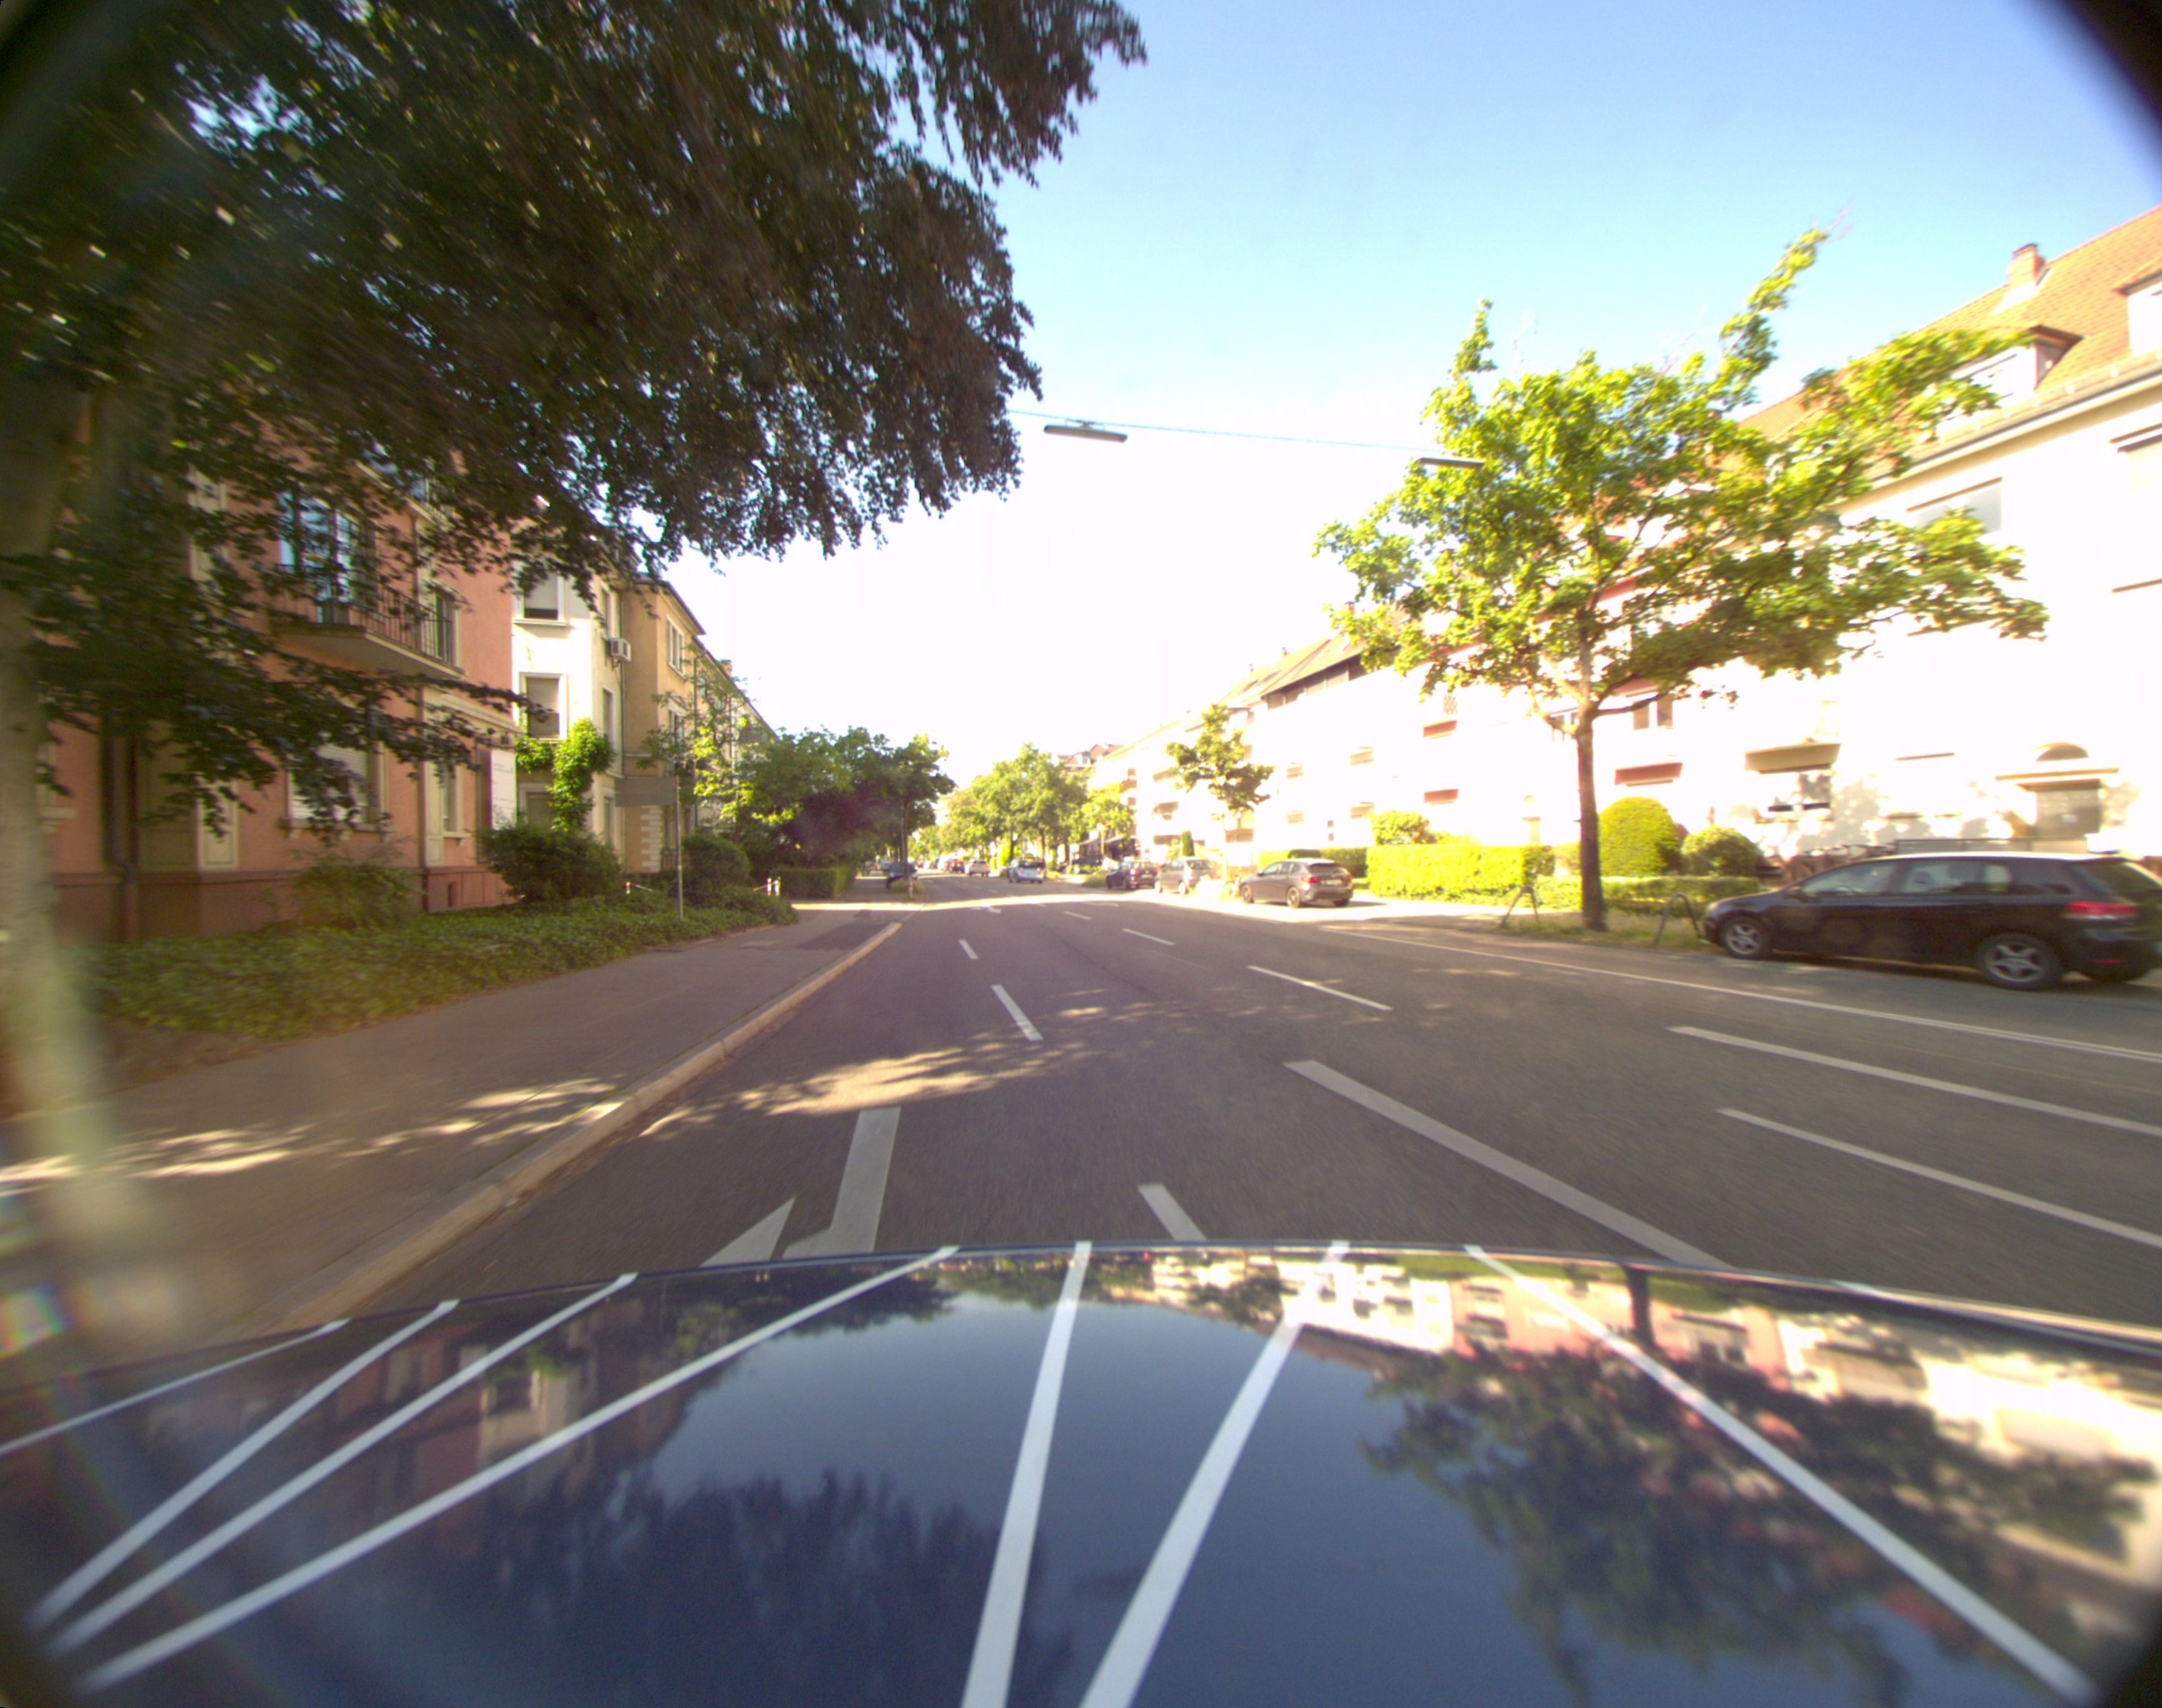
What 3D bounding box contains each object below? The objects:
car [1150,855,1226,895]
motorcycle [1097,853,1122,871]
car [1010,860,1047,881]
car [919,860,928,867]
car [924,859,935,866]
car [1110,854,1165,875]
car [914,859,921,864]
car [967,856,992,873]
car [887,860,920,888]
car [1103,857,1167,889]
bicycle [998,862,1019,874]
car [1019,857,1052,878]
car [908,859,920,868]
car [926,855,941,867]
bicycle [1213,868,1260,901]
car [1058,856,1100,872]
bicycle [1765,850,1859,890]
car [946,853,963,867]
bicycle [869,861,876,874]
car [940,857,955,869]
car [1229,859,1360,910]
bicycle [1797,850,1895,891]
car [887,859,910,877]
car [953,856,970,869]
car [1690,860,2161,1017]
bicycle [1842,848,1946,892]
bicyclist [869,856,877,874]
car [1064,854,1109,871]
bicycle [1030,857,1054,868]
[{"bbox_3d":[4.459,0.845,32.164,1.682,1.516,3.653,-3,0,-18],"label":"car"},{"bbox_3d":[2.572,0.727,69.036,2.157,1.477,0.781,-2,0,-6],"label":"motorcycle"},{"bbox_3d":[-3.545,1.089,50.579,1.744,1.373,3.931,1,-1,-16],"label":"car"},{"bbox_3d":[-34.328,2.129,165.288,1.587,1.443,3.739,-1,0,-17],"label":"car"},{"bbox_3d":[-29.540,1.669,147.835,1.740,1.404,4.186,1,-1,-15],"label":"car"},{"bbox_3d":[4.581,0.843,61.544,4.002,1.478,1.879,-2,0,-15],"label":"car"},{"bbox_3d":[-42.937,1.923,199.418,1.587,1.443,3.739,-1,0,-17],"label":"car"},{"bbox_3d":[-10.133,1.024,75.325,1.813,1.638,4.666,1,-1,-15],"label":"car"},{"bbox_3d":[-10.170,1.116,43.438,1.565,1.506,3.649,1,-1,-17],"label":"car"},{"bbox_3d":[2.638,0.925,38.464,1.792,1.484,4.487,-1,0,-16],"label":"car"},{"bbox_3d":[-7.127,1.346,74.744,2.027,1.085,0.462,-2,0,8],"label":"bicycle"},{"bbox_3d":[-3.734,1.071,61.572,1.728,1.527,4.674,-2,0,-15],"label":"car"},{"bbox_3d":[-24.623,1.392,111.957,1.656,1.348,4.299,-1,0,-14],"label":"car"},{"bbox_3d":[-24.885,1.230,127.787,2.024,1.940,5.171,1,-1,-16],"label":"car"},{"bbox_3d":[5.506,1.060,26.932,1.549,1.127,0.547,0,0,-16],"label":"bicycle"},{"bbox_3d":[-0.177,0.943,74.083,3.996,1.447,1.733,-1,0,3],"label":"car"},{"bbox_3d":[17.978,0.392,18.684,2.124,0.924,0.571,-1,0,-12],"label":"bicycle"},{"bbox_3d":[-17.728,0.847,106.330,1.810,1.899,4.705,2,-1,-15],"label":"car"},{"bbox_3d":[-21.398,1.367,78.063,0.700,1.239,1.819,0,0,-15],"label":"bicycle"},{"bbox_3d":[-20.262,1.327,114.887,1.823,1.732,4.487,1,0,-15],"label":"car"},{"bbox_3d":[6.474,0.886,23.603,1.774,1.400,4.360,-2,0,-18],"label":"car"},{"bbox_3d":[18.110,0.383,17.983,2.124,0.924,0.571,-1,0,-12],"label":"bicycle"},{"bbox_3d":[-15.591,1.137,64.798,1.721,1.480,4.228,0,0,-16],"label":"car"},{"bbox_3d":[-15.228,1.078,96.702,1.726,1.556,4.337,2,-1,-15],"label":"car"},{"bbox_3d":[10.302,0.824,9.430,1.677,1.448,4.106,-1,0,-14],"label":"car"},{"bbox_3d":[18.291,0.354,17.099,2.124,0.937,0.571,-1,0,-12],"label":"bicycle"},{"bbox_3d":[-21.416,1.109,78.195,0.727,1.782,1.014,0,0,-15],"label":"bicyclist"},{"bbox_3d":[0.459,0.773,71.140,3.999,1.452,1.732,-2,0,-6],"label":"car"},{"bbox_3d":[-4.613,1.010,90.381,0.949,1.255,3.181,2,3,41],"label":"bicycle"}]
